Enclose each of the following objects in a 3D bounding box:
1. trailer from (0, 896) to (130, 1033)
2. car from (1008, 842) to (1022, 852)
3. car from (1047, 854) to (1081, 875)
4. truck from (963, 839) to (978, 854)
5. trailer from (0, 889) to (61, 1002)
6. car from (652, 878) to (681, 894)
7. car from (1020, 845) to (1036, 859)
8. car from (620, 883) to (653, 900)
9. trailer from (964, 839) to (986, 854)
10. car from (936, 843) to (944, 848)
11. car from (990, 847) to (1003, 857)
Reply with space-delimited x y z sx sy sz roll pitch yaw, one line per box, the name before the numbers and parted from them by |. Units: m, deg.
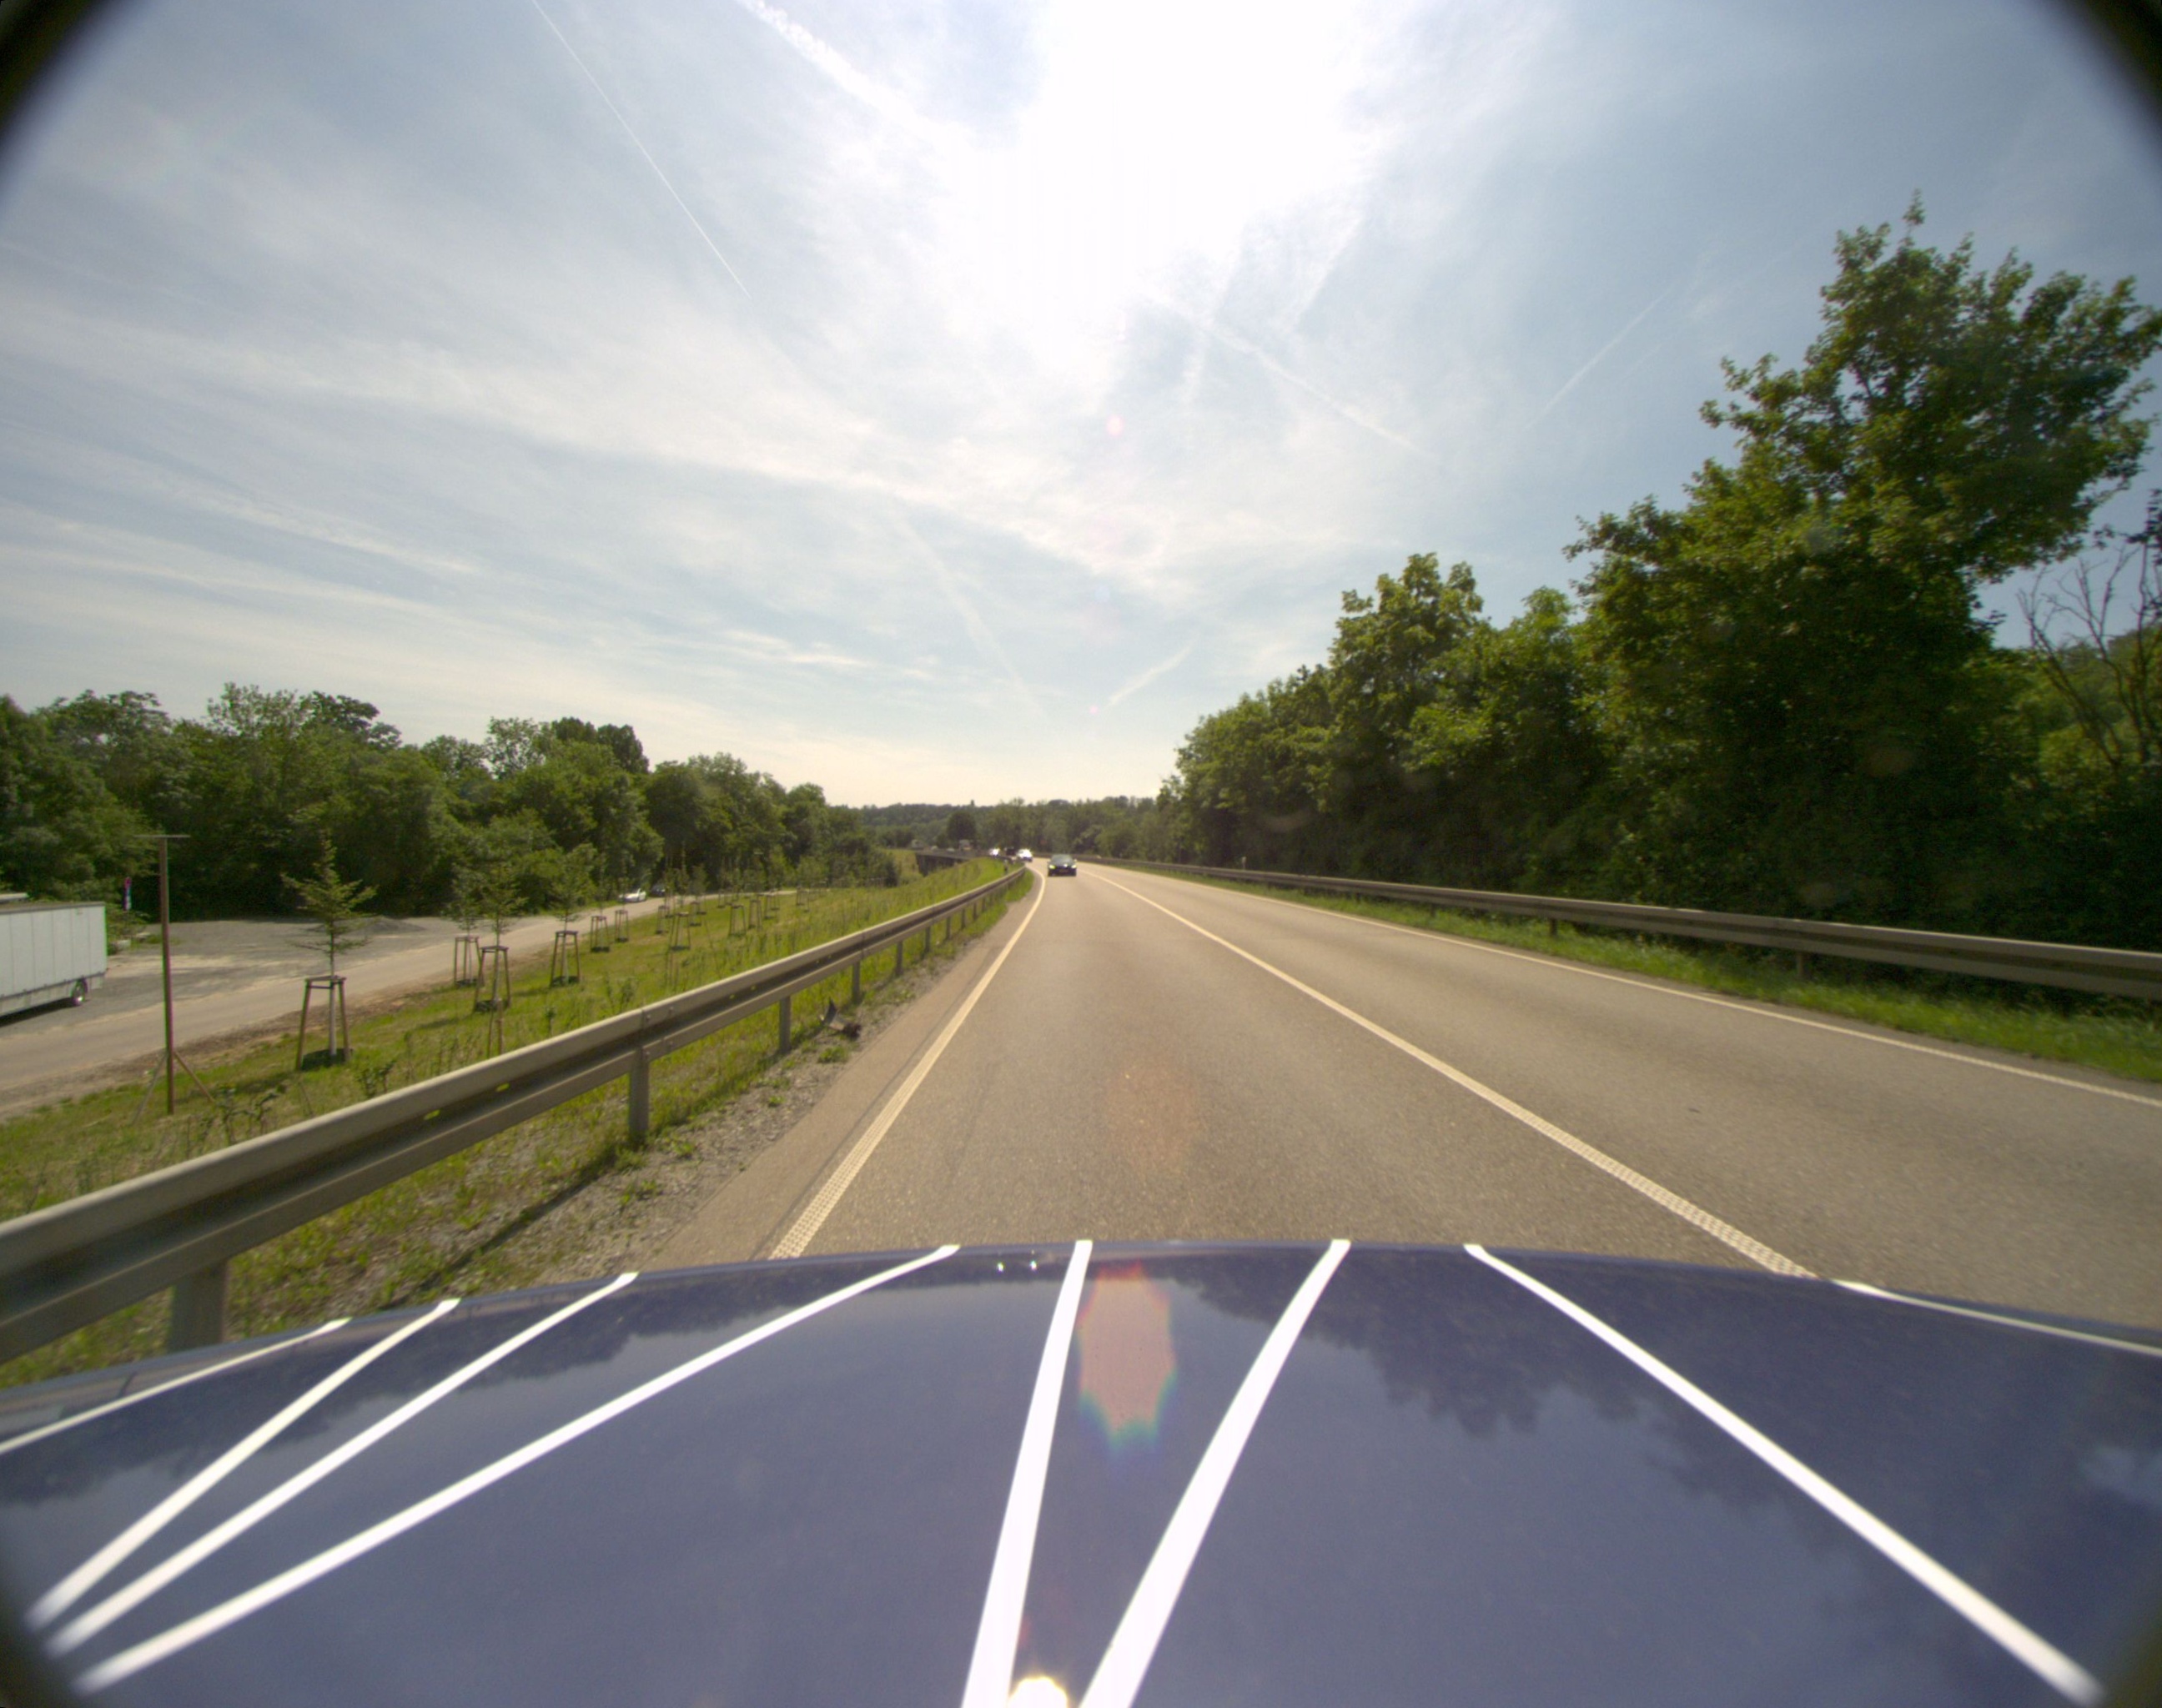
trailer | -30.635 3.123 20.565 2.732 3.308 11.863 -2 1 -35
car | -13.290 -1.442 152.722 1.929 1.849 5.169 -1 1 -13
car | -1.195 0.674 50.584 1.981 1.333 3.998 -1 0 -5
truck | -30.298 -2.113 208.449 3.131 3.935 6.610 -1 1 -18
trailer | -35.220 3.106 21.944 2.732 3.586 11.864 -2 1 -33
car | -49.540 3.847 90.830 1.864 1.672 4.195 3 -1 -13
car | -7.138 -0.196 101.785 1.981 1.779 3.998 -1 0 -7
car | -46.703 3.967 79.913 1.865 1.474 4.601 3 0 -15
trailer | -28.263 -1.992 202.031 3.131 3.957 15.330 -1 1 -17
car | -46.119 -2.656 248.303 1.765 1.503 3.992 -2 2 -21
car | -16.246 -0.394 145.540 1.983 1.723 3.993 -1 2 -15
